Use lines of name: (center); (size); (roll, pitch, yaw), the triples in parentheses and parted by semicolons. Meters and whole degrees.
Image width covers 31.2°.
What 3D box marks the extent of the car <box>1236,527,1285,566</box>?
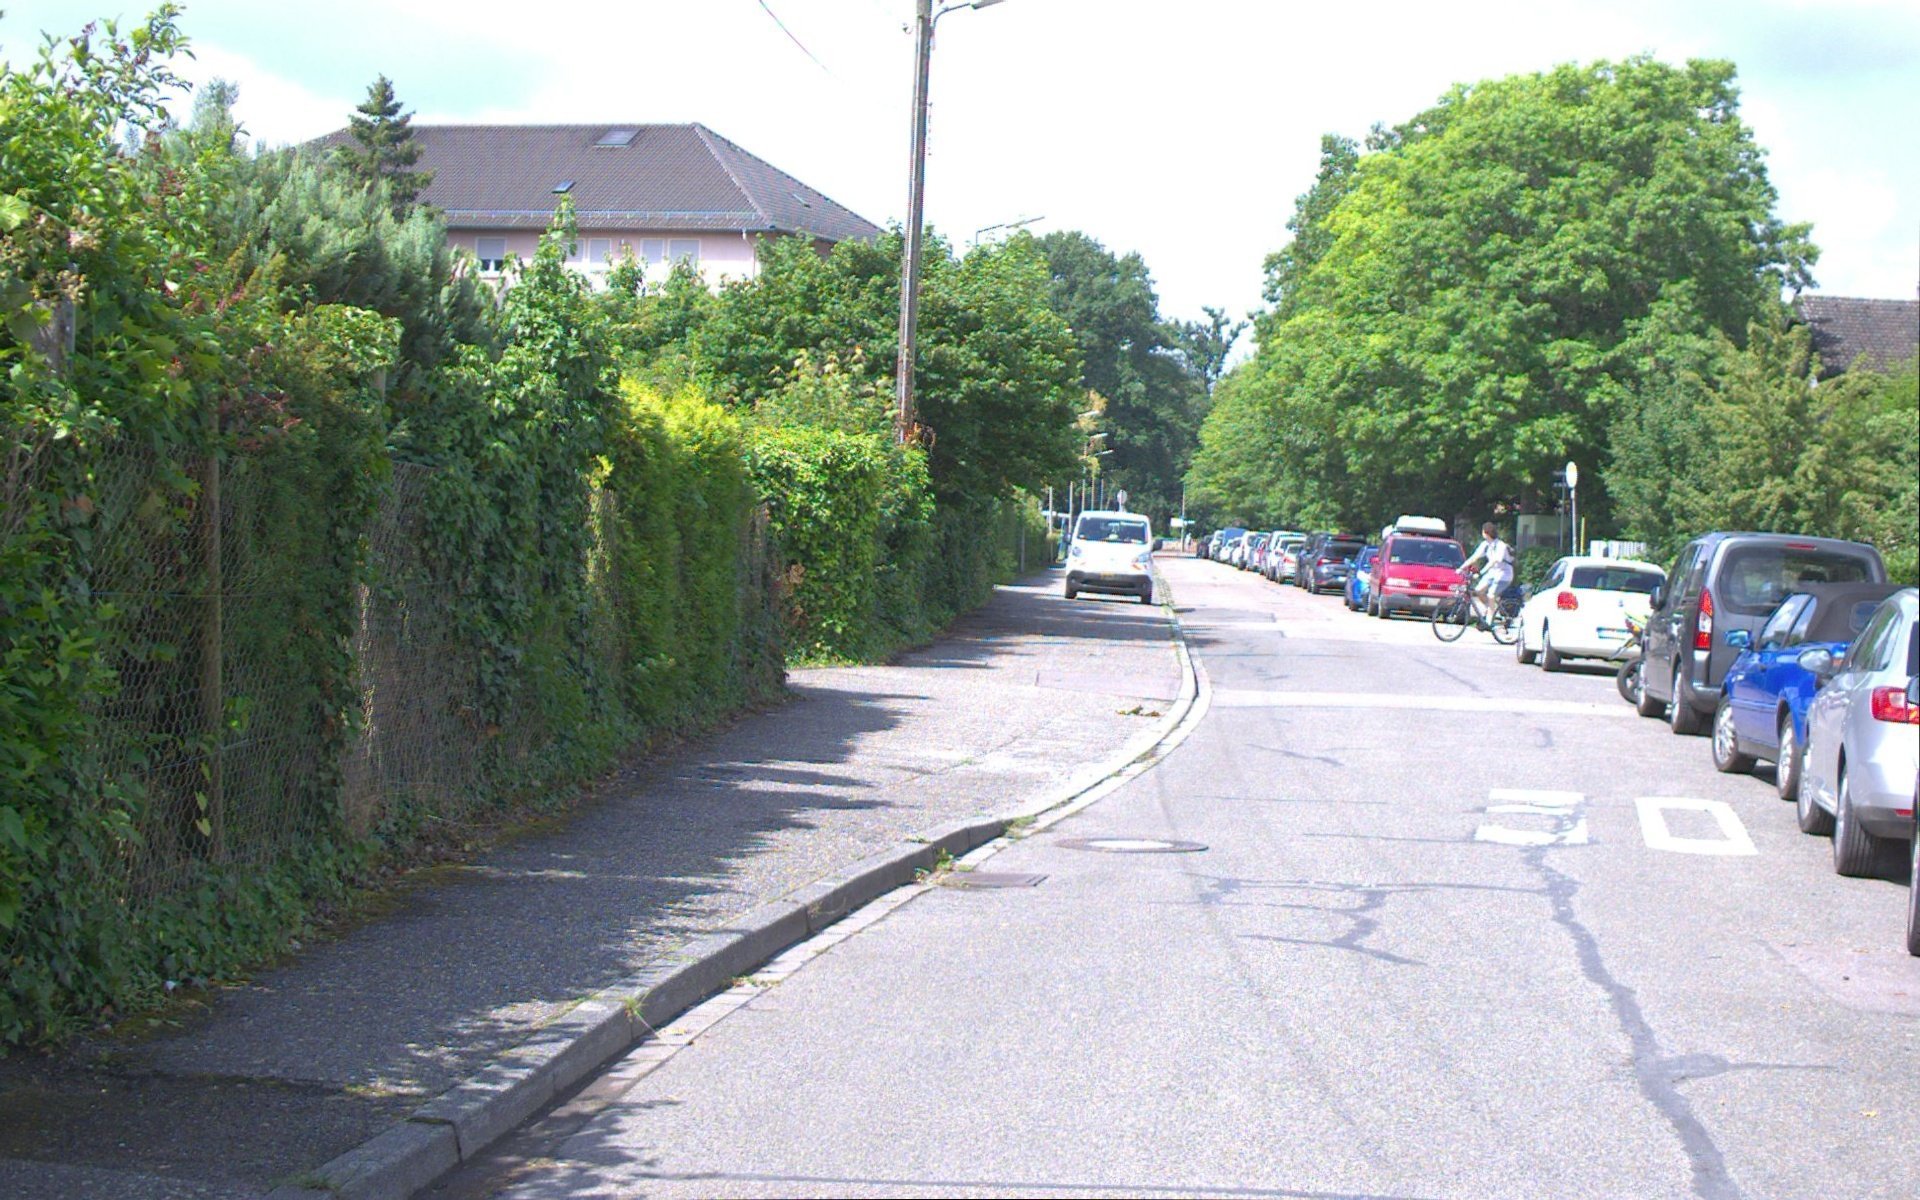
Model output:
car: (13.044, -2.322, 148.917); (1.852, 1.612, 3.999); (3, 1, 8)

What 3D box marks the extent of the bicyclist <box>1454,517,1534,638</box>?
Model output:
bicyclist: (8.183, -0.340, 52.686); (0.786, 1.779, 0.892); (5, 1, 36)

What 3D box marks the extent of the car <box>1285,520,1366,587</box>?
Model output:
car: (9.955, -1.268, 93.784); (2.058, 1.646, 4.540); (4, 1, 6)

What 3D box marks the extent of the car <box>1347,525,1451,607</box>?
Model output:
car: (9.775, -0.769, 76.817); (2.058, 1.646, 4.540); (4, 1, 6)

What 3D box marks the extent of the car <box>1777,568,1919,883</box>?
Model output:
car: (5.308, 0.615, 17.776); (1.664, 1.434, 3.743); (4, 1, 8)

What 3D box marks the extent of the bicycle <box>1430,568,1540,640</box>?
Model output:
bicycle: (8.051, 0.066, 52.654); (0.860, 1.023, 1.816); (5, 1, 36)

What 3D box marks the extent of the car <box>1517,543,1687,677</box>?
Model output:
car: (8.066, 0.089, 43.489); (1.679, 1.514, 3.999); (4, 1, 6)

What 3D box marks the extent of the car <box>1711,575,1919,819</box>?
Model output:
car: (6.181, 0.618, 23.035); (1.663, 1.430, 3.541); (4, 1, 4)

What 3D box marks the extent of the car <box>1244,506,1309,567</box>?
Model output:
car: (10.973, -2.185, 118.929); (2.058, 1.955, 4.540); (4, 1, 6)

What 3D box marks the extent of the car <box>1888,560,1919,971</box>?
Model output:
car: (4.397, 0.683, 12.329); (1.664, 1.547, 3.635); (4, 1, 10)

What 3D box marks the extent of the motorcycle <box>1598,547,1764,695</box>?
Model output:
motorcycle: (7.133, 0.199, 34.081); (1.427, 1.357, 0.869); (4, 1, 5)

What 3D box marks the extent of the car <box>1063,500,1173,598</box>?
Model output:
car: (3.231, -1.036, 69.571); (1.903, 1.808, 3.999); (4, 1, 6)

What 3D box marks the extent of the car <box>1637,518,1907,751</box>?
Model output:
car: (7.061, 0.261, 30.191); (1.875, 1.800, 3.431); (4, 1, 8)

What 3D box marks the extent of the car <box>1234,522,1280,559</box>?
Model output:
car: (14.121, -2.838, 163.400); (1.852, 1.612, 3.999); (4, 1, 8)

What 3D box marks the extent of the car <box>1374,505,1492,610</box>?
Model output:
car: (9.471, -0.866, 69.134); (2.058, 1.919, 4.540); (4, 1, 6)
